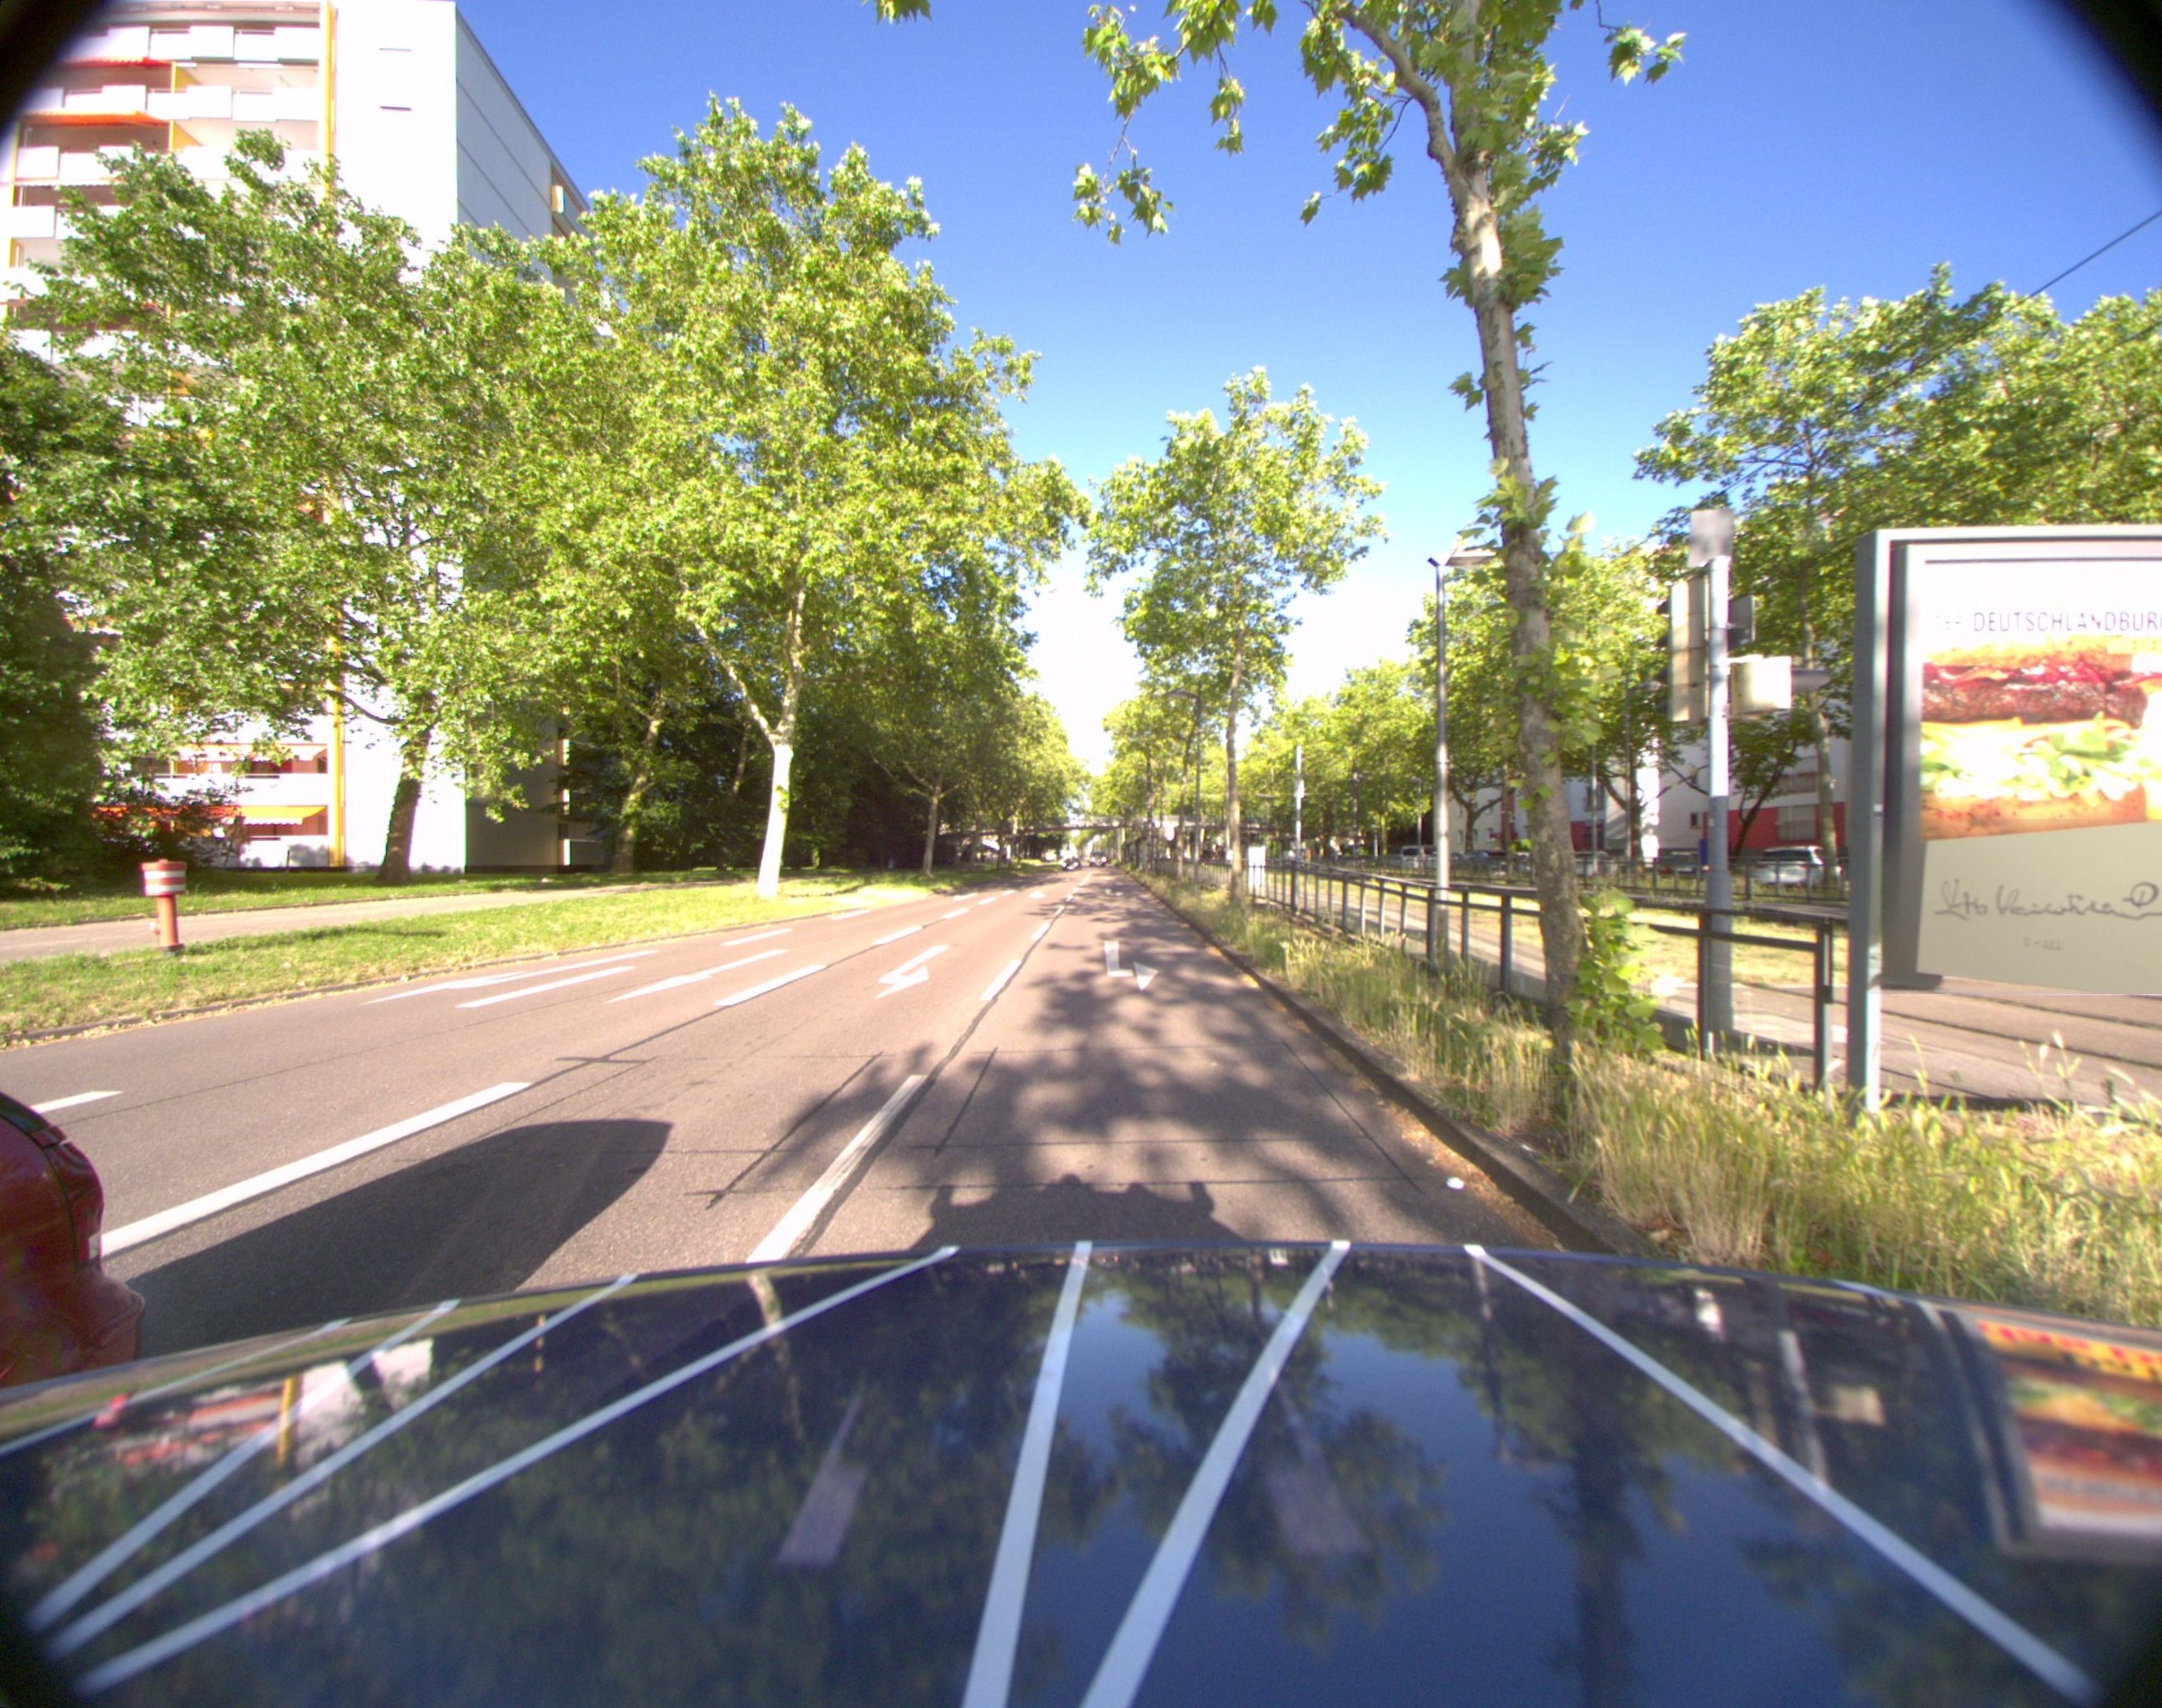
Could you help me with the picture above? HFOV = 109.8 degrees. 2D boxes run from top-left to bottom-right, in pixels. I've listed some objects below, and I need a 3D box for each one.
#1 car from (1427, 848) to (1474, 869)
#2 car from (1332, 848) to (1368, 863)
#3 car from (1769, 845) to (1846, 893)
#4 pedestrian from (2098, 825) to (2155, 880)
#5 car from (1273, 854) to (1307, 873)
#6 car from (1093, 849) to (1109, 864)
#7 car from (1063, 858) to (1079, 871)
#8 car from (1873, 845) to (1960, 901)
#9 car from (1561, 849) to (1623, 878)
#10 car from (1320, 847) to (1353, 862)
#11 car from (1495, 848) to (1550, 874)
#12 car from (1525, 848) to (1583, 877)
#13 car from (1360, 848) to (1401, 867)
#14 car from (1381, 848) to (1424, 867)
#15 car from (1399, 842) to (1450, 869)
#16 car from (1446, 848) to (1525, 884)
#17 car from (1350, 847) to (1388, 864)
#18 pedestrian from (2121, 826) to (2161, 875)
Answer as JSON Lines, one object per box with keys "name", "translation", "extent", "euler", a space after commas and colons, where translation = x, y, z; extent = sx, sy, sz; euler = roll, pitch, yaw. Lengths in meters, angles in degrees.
{"name": "car", "translation": [26.302, 0.315, 54.036], "extent": [3.811, 1.433, 1.652], "euler": [-2, 0, -42]}
{"name": "car", "translation": [26.065, 0.138, 73.569], "extent": [3.811, 1.433, 1.652], "euler": [-2, 0, -42]}
{"name": "car", "translation": [25.357, 0.493, 26.479], "extent": [3.811, 1.501, 1.652], "euler": [-2, 0, -42]}
{"name": "pedestrian", "translation": [33.878, -0.044, 24.638], "extent": [0.764, 1.723, 0.786], "euler": [-2, 1, -1]}
{"name": "car", "translation": [20.922, 0.926, 76.308], "extent": [1.832, 1.811, 4.901], "euler": [-2, 0, -3]}
{"name": "car", "translation": [2.770, 0.345, 105.394], "extent": [1.906, 1.924, 4.719], "euler": [-2, 0, -1]}
{"name": "car", "translation": [-1.048, 1.111, 81.724], "extent": [1.580, 1.395, 3.638], "euler": [-2, 0, 0]}
{"name": "car", "translation": [25.244, 0.528, 22.970], "extent": [3.811, 1.501, 1.652], "euler": [-2, 0, -42]}
{"name": "car", "translation": [25.382, 0.452, 37.702], "extent": [3.811, 1.348, 1.652], "euler": [-2, 0, -42]}
{"name": "car", "translation": [26.785, 0.050, 79.629], "extent": [3.811, 1.433, 1.652], "euler": [-2, 0, -42]}
{"name": "car", "translation": [26.098, 0.411, 44.868], "extent": [3.811, 1.433, 1.652], "euler": [-2, 0, -42]}
{"name": "car", "translation": [25.863, 0.447, 41.483], "extent": [3.811, 1.433, 1.652], "euler": [-2, 0, -42]}
{"name": "car", "translation": [24.943, 0.277, 63.213], "extent": [3.811, 1.433, 1.652], "euler": [-2, 0, -42]}
{"name": "car", "translation": [25.729, 0.274, 60.756], "extent": [3.811, 1.433, 1.652], "euler": [-2, 0, -42]}
{"name": "car", "translation": [25.818, 0.094, 57.034], "extent": [4.330, 1.863, 1.836], "euler": [-2, 0, -42]}
{"name": "car", "translation": [19.862, 0.550, 37.515], "extent": [1.655, 1.609, 4.294], "euler": [-2, 0, 1]}
{"name": "car", "translation": [26.619, 0.140, 70.138], "extent": [3.811, 1.433, 1.652], "euler": [-2, 0, -42]}
{"name": "pedestrian", "translation": [36.022, -0.128, 25.642], "extent": [0.764, 1.614, 0.786], "euler": [-2, 1, -1]}
